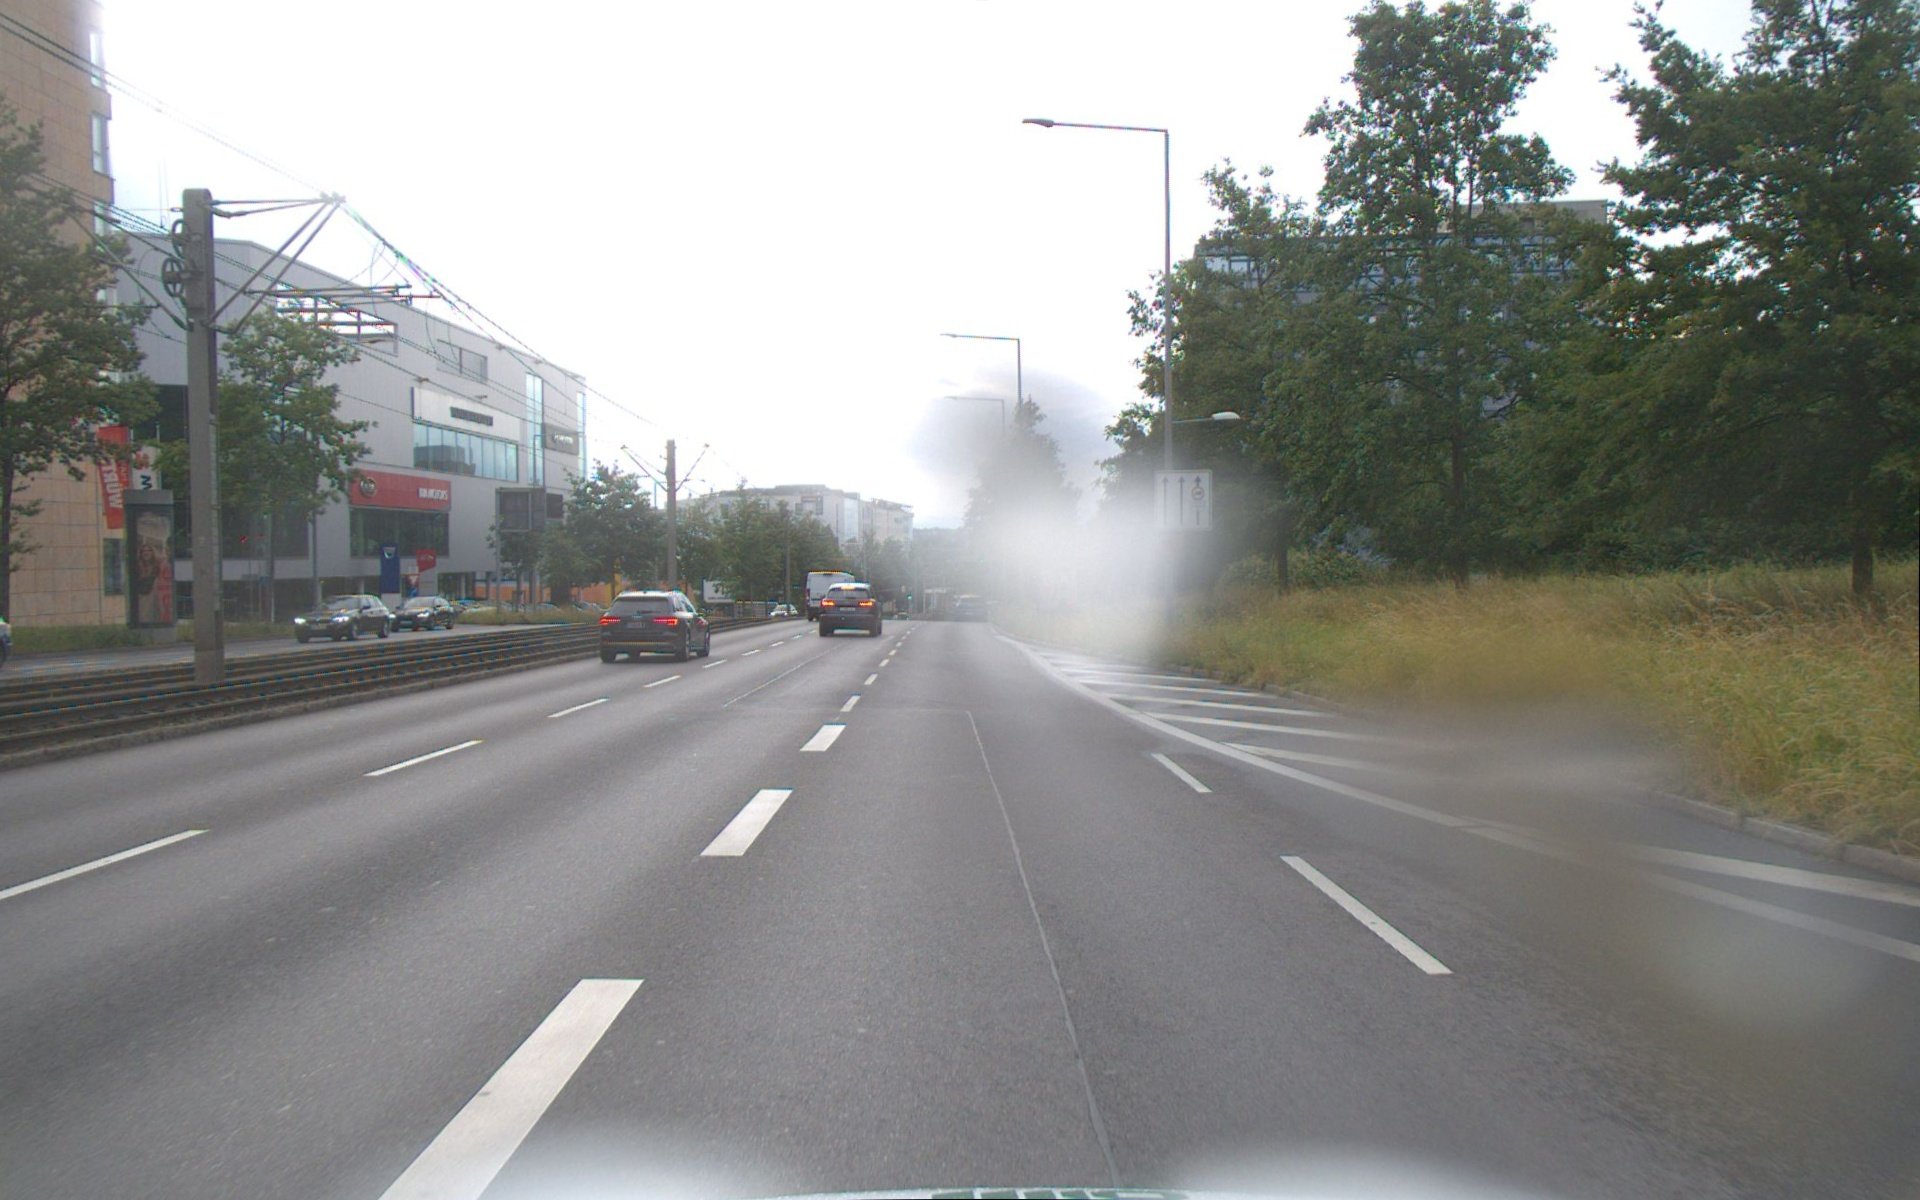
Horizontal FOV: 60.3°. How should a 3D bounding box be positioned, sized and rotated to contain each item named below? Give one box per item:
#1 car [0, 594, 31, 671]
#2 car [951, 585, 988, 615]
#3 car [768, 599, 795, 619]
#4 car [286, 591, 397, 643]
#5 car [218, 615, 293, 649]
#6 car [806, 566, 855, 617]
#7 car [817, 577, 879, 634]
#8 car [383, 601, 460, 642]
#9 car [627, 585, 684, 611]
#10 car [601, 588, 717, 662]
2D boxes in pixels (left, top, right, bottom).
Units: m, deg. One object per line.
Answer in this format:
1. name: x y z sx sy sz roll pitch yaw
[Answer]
1. car: -19.936 0.720 31.499 1.803 1.512 4.653 -3 1 -1
2. car: 0.531 0.026 94.053 1.754 1.619 3.996 -1 0 -4
3. car: -15.136 0.776 140.186 1.623 1.576 4.001 1 -1 3
4. car: -20.029 0.515 53.755 1.803 1.512 4.653 -3 1 -1
5. car: -38.668 1.730 90.911 1.953 1.755 4.940 1 -1 0
6. car: -6.116 -0.390 78.732 2.223 2.325 4.756 1 0 -4
7. car: -3.594 0.149 52.994 1.884 1.740 4.095 1 0 -4
8. car: -23.163 0.898 71.276 1.803 1.512 4.430 -3 1 -1
9. car: -29.093 -0.194 158.155 5.204 2.353 2.016 1 -2 -9
10. car: -6.301 0.475 35.076 1.750 1.438 4.804 1 0 -2
